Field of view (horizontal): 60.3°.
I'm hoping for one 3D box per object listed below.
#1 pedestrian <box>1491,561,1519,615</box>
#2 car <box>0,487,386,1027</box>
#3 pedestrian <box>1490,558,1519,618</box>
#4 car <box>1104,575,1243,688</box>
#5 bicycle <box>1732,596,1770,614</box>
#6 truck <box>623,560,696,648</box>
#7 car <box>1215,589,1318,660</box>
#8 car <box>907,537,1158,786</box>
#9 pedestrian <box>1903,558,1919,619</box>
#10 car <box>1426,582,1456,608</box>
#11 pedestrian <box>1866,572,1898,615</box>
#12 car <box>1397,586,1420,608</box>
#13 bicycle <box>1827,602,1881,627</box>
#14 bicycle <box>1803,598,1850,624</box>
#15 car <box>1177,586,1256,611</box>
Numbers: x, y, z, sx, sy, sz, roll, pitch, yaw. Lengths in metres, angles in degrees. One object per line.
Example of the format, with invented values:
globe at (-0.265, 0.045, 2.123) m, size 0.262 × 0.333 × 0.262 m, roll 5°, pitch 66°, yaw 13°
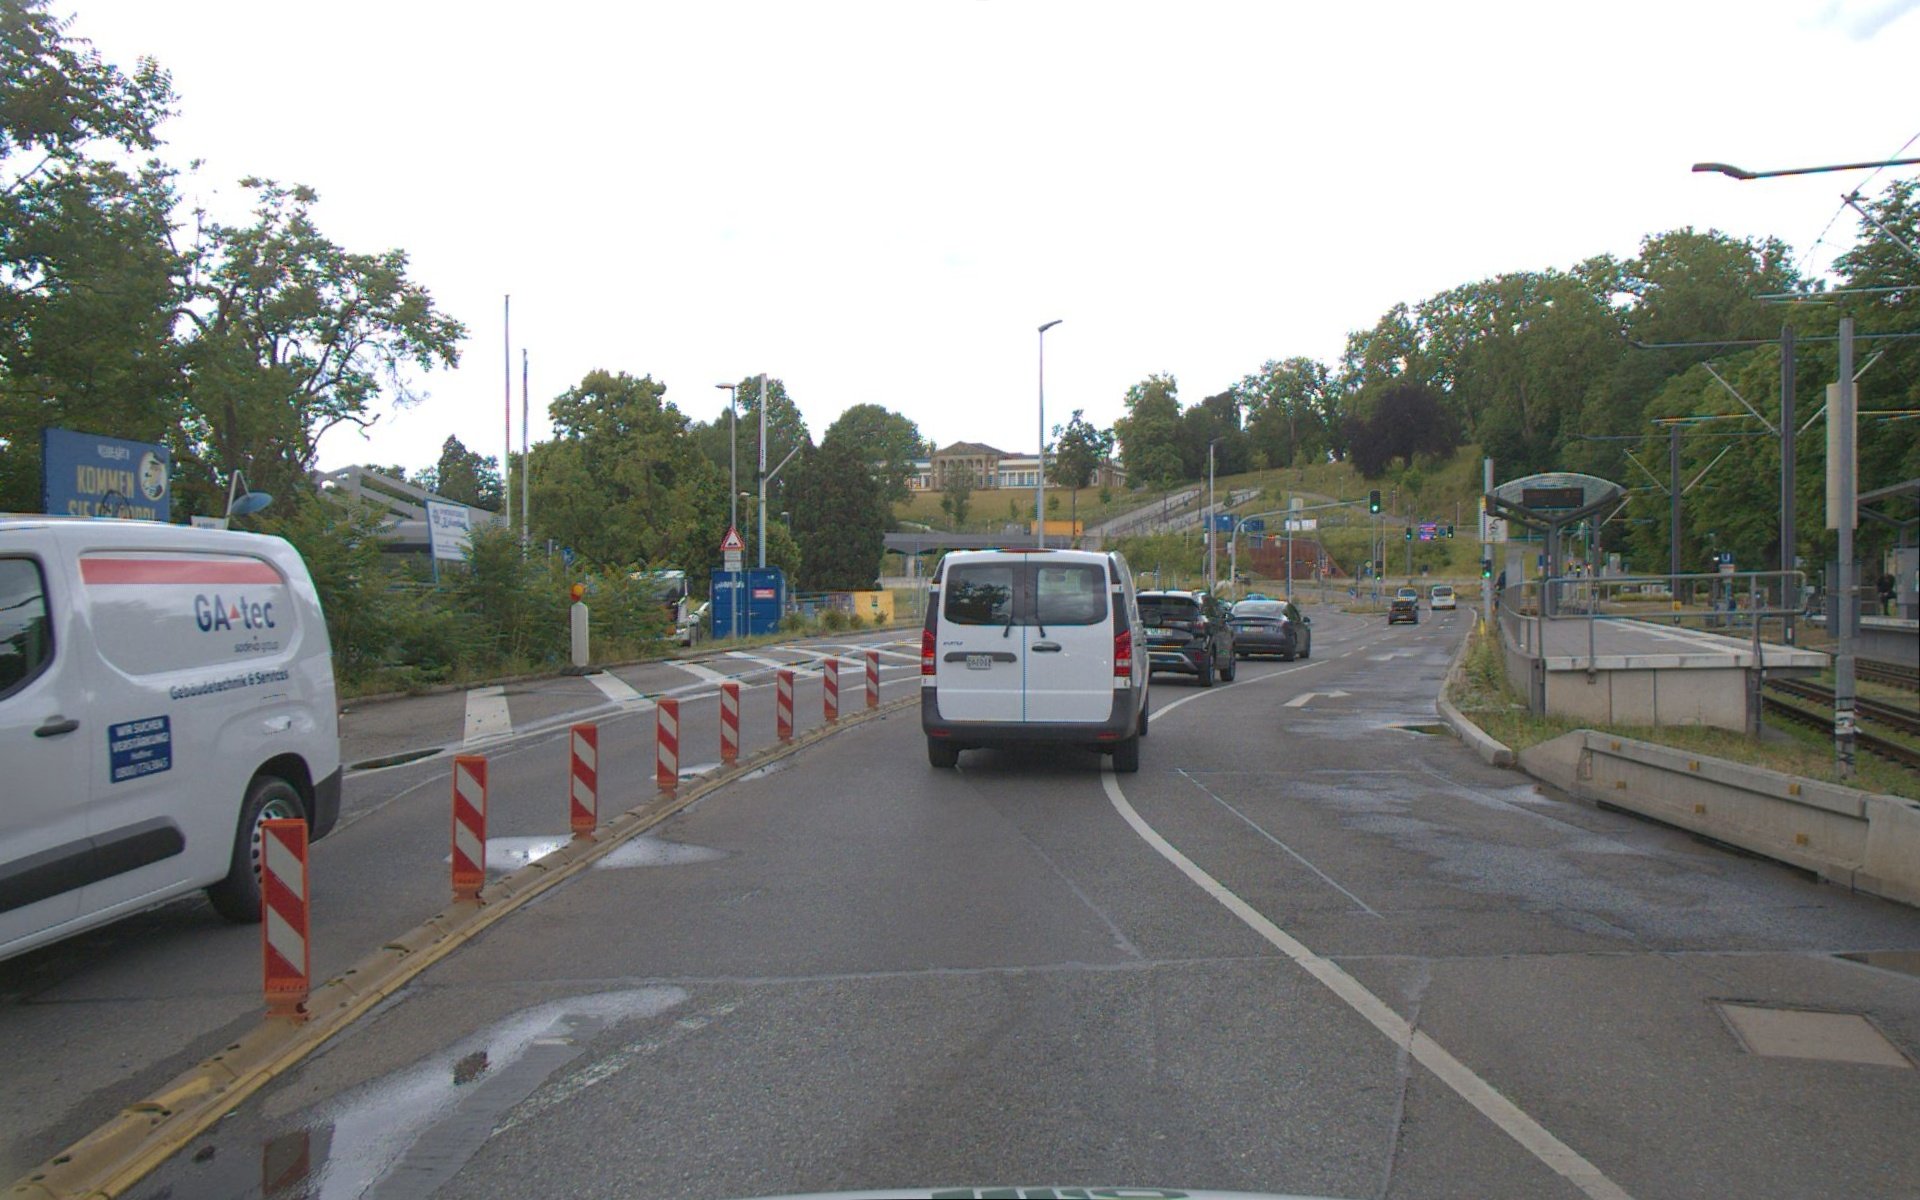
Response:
pedestrian at (16.353, -0.380, 49.659) m, size 0.735 × 1.580 × 0.775 m, roll 2°, pitch 2°, yaw 20°
car at (-4.081, 0.520, 6.199) m, size 1.824 × 1.813 × 4.752 m, roll 0°, pitch 1°, yaw 5°
pedestrian at (16.095, -0.363, 48.902) m, size 0.754 × 1.729 × 0.732 m, roll 2°, pitch 2°, yaw 20°
car at (3.752, 0.492, 28.516) m, size 1.799 × 1.759 × 4.065 m, roll 1°, pitch 0°, yaw 15°
bicycle at (44.977, 0.269, 94.070) m, size 1.872 × 0.992 × 0.531 m, roll -1°, pitch 0°, yaw 19°
truck at (-12.579, 0.123, 69.630) m, size 2.741 × 3.394 × 8.460 m, roll -2°, pitch 1°, yaw -9°
car at (7.624, 0.580, 40.862) m, size 1.800 × 1.610 × 4.063 m, roll 1°, pitch 0°, yaw 20°
car at (0.839, 0.475, 15.443) m, size 1.917 × 1.937 × 4.465 m, roll 1°, pitch 0°, yaw 7°
pedestrian at (27.335, -0.316, 47.176) m, size 0.532 × 1.706 × 0.676 m, roll 2°, pitch 0°, yaw 15°
car at (39.250, -0.411, 135.073) m, size 2.154 × 2.049 × 5.155 m, roll 1°, pitch 0°, yaw 14°
pedestrian at (29.318, -0.206, 52.578) m, size 0.659 × 1.346 × 0.968 m, roll 2°, pitch 0°, yaw 17°
car at (36.951, -0.246, 136.286) m, size 1.715 × 1.802 × 4.003 m, roll 2°, pitch 0°, yaw 14°
bicycle at (36.838, 0.586, 68.161) m, size 1.834 × 0.980 × 0.533 m, roll 2°, pitch 0°, yaw 19°
bicycle at (38.170, 0.480, 72.852) m, size 1.727 × 1.051 × 0.484 m, roll 2°, pitch 0°, yaw 19°
car at (16.467, -0.106, 106.135) m, size 4.619 × 1.503 × 1.997 m, roll -1°, pitch 1°, yaw 29°
